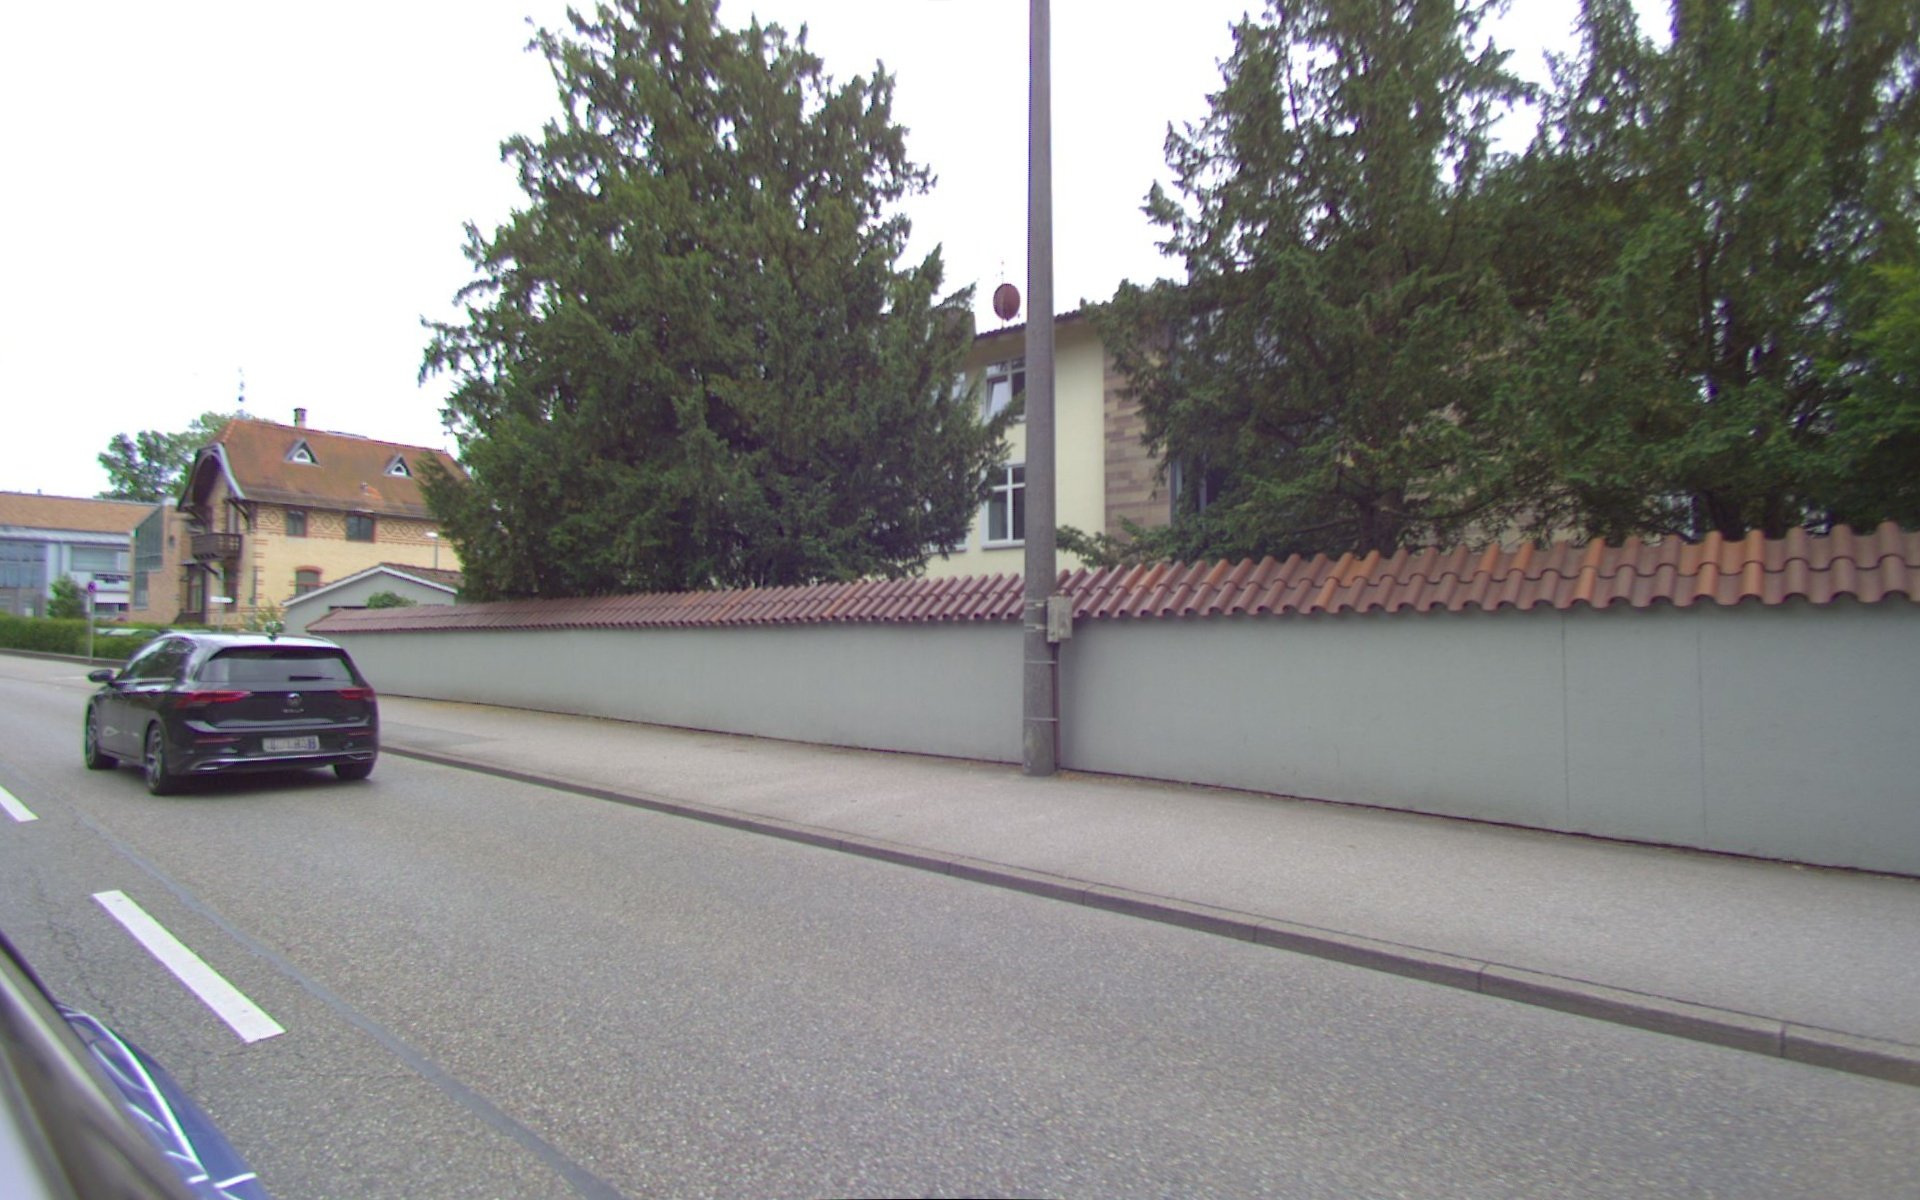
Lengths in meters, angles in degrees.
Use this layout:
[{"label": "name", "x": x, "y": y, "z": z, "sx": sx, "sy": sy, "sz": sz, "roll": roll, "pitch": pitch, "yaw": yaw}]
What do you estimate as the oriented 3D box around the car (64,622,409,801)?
[{"label": "car", "x": -7.305, "y": 0.959, "z": 10.090, "sx": 3.995, "sy": 1.439, "sz": 1.768, "roll": -1, "pitch": -3, "yaw": 39}]
